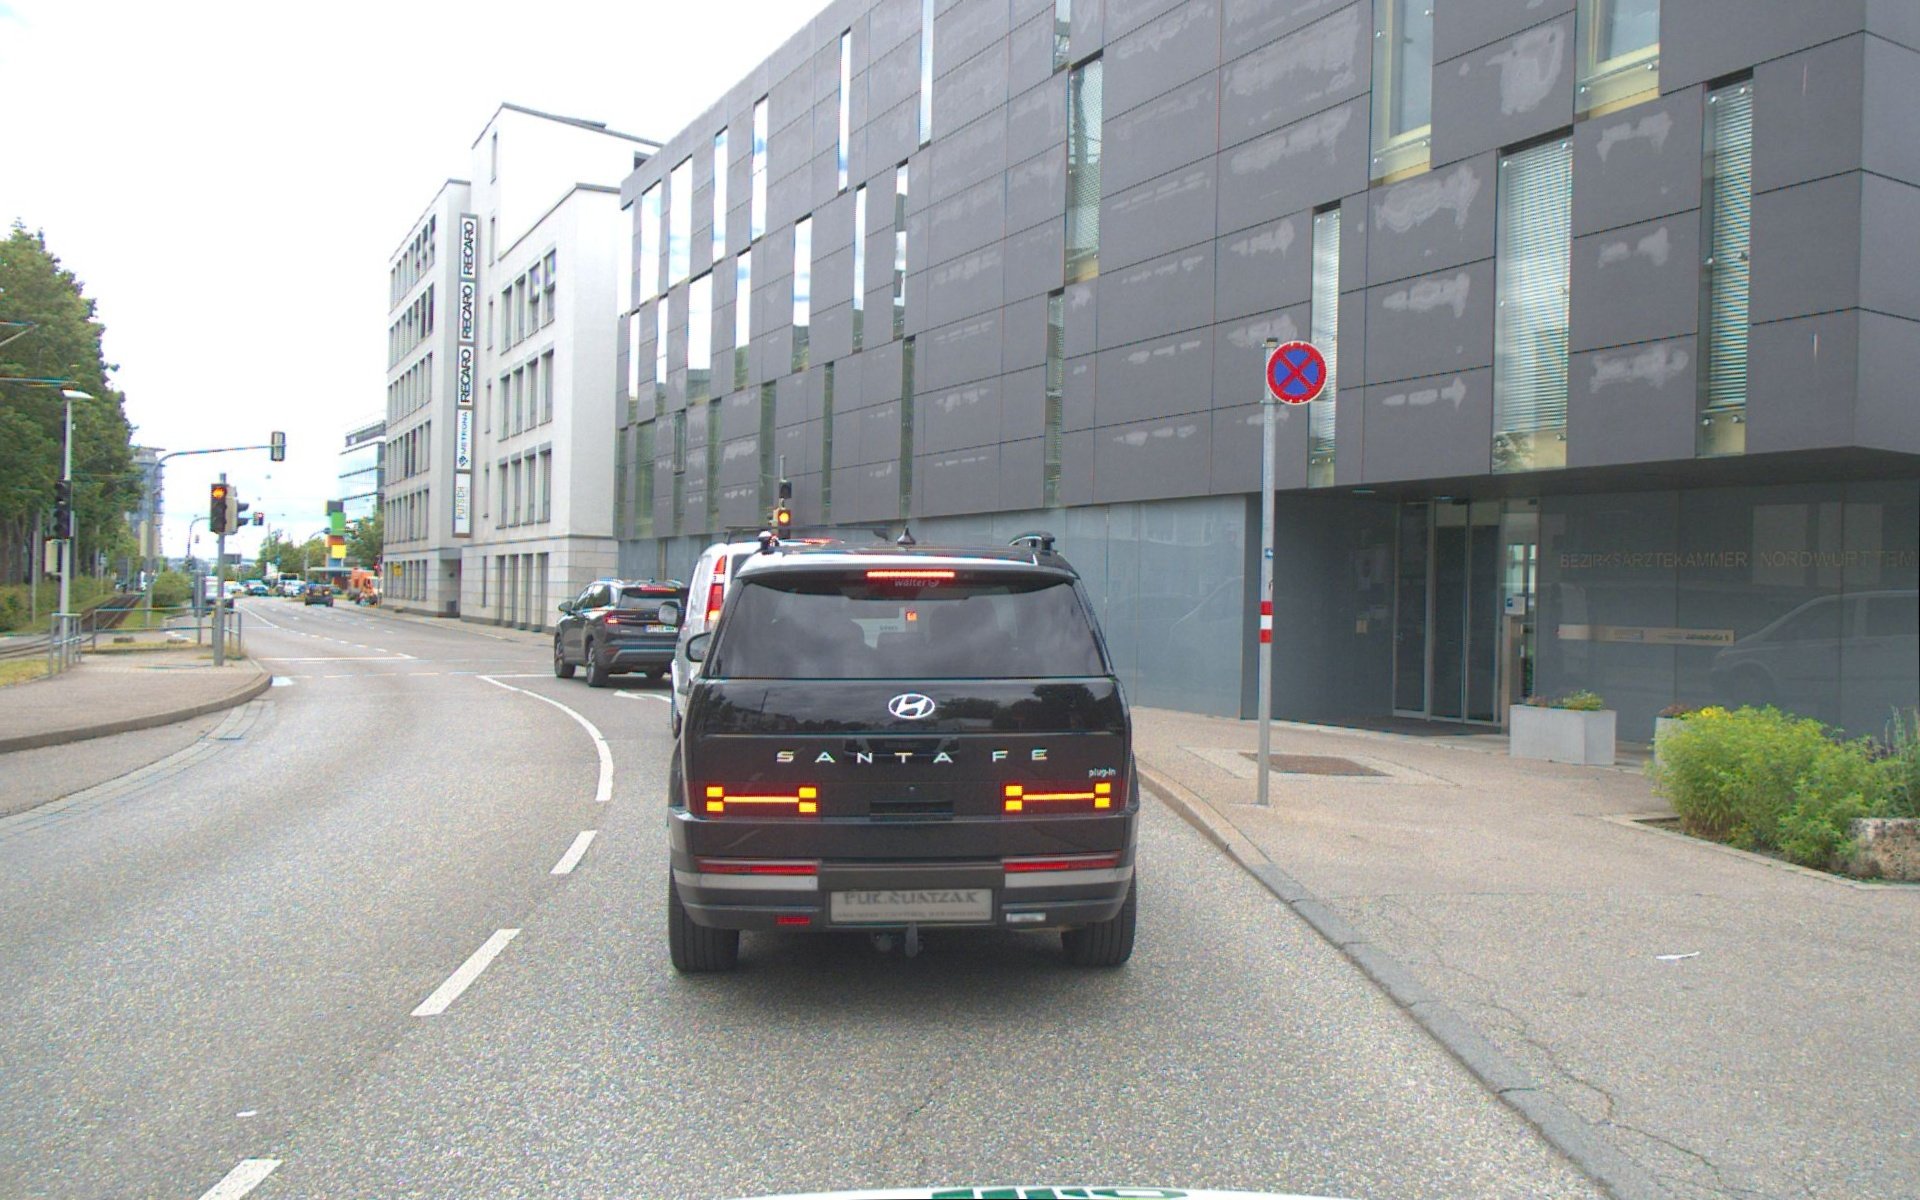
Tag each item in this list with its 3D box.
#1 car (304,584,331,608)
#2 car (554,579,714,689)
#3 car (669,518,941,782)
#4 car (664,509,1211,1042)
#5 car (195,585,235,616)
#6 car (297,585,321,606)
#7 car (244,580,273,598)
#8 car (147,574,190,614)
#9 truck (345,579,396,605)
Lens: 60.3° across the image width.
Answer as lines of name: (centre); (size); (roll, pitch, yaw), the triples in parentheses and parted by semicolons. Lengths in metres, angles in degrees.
car: (-46.207, -0.291, 118.924); (1.735, 1.637, 4.159); (1, 0, -23)
car: (-5.356, 0.497, 26.792); (1.735, 1.637, 4.159); (1, 0, -23)
car: (-1.579, 0.387, 15.118); (1.898, 2.029, 4.520); (1, 0, -13)
car: (-0.314, 0.579, 7.819); (1.872, 1.780, 4.390); (0, 0, -7)
car: (-37.827, 0.021, 84.061); (1.744, 1.504, 3.971); (-1, 0, -23)
car: (-53.306, -0.355, 135.376); (1.735, 1.637, 4.159); (1, 0, -23)
car: (-74.716, -1.173, 176.164); (1.979, 1.885, 3.946); (1, 0, -38)
car: (-38.402, -0.302, 80.298); (1.658, 1.840, 4.321); (-1, 0, -23)
truck: (-48.151, -0.671, 135.049); (1.980, 2.049, 6.316); (1, 0, -38)
